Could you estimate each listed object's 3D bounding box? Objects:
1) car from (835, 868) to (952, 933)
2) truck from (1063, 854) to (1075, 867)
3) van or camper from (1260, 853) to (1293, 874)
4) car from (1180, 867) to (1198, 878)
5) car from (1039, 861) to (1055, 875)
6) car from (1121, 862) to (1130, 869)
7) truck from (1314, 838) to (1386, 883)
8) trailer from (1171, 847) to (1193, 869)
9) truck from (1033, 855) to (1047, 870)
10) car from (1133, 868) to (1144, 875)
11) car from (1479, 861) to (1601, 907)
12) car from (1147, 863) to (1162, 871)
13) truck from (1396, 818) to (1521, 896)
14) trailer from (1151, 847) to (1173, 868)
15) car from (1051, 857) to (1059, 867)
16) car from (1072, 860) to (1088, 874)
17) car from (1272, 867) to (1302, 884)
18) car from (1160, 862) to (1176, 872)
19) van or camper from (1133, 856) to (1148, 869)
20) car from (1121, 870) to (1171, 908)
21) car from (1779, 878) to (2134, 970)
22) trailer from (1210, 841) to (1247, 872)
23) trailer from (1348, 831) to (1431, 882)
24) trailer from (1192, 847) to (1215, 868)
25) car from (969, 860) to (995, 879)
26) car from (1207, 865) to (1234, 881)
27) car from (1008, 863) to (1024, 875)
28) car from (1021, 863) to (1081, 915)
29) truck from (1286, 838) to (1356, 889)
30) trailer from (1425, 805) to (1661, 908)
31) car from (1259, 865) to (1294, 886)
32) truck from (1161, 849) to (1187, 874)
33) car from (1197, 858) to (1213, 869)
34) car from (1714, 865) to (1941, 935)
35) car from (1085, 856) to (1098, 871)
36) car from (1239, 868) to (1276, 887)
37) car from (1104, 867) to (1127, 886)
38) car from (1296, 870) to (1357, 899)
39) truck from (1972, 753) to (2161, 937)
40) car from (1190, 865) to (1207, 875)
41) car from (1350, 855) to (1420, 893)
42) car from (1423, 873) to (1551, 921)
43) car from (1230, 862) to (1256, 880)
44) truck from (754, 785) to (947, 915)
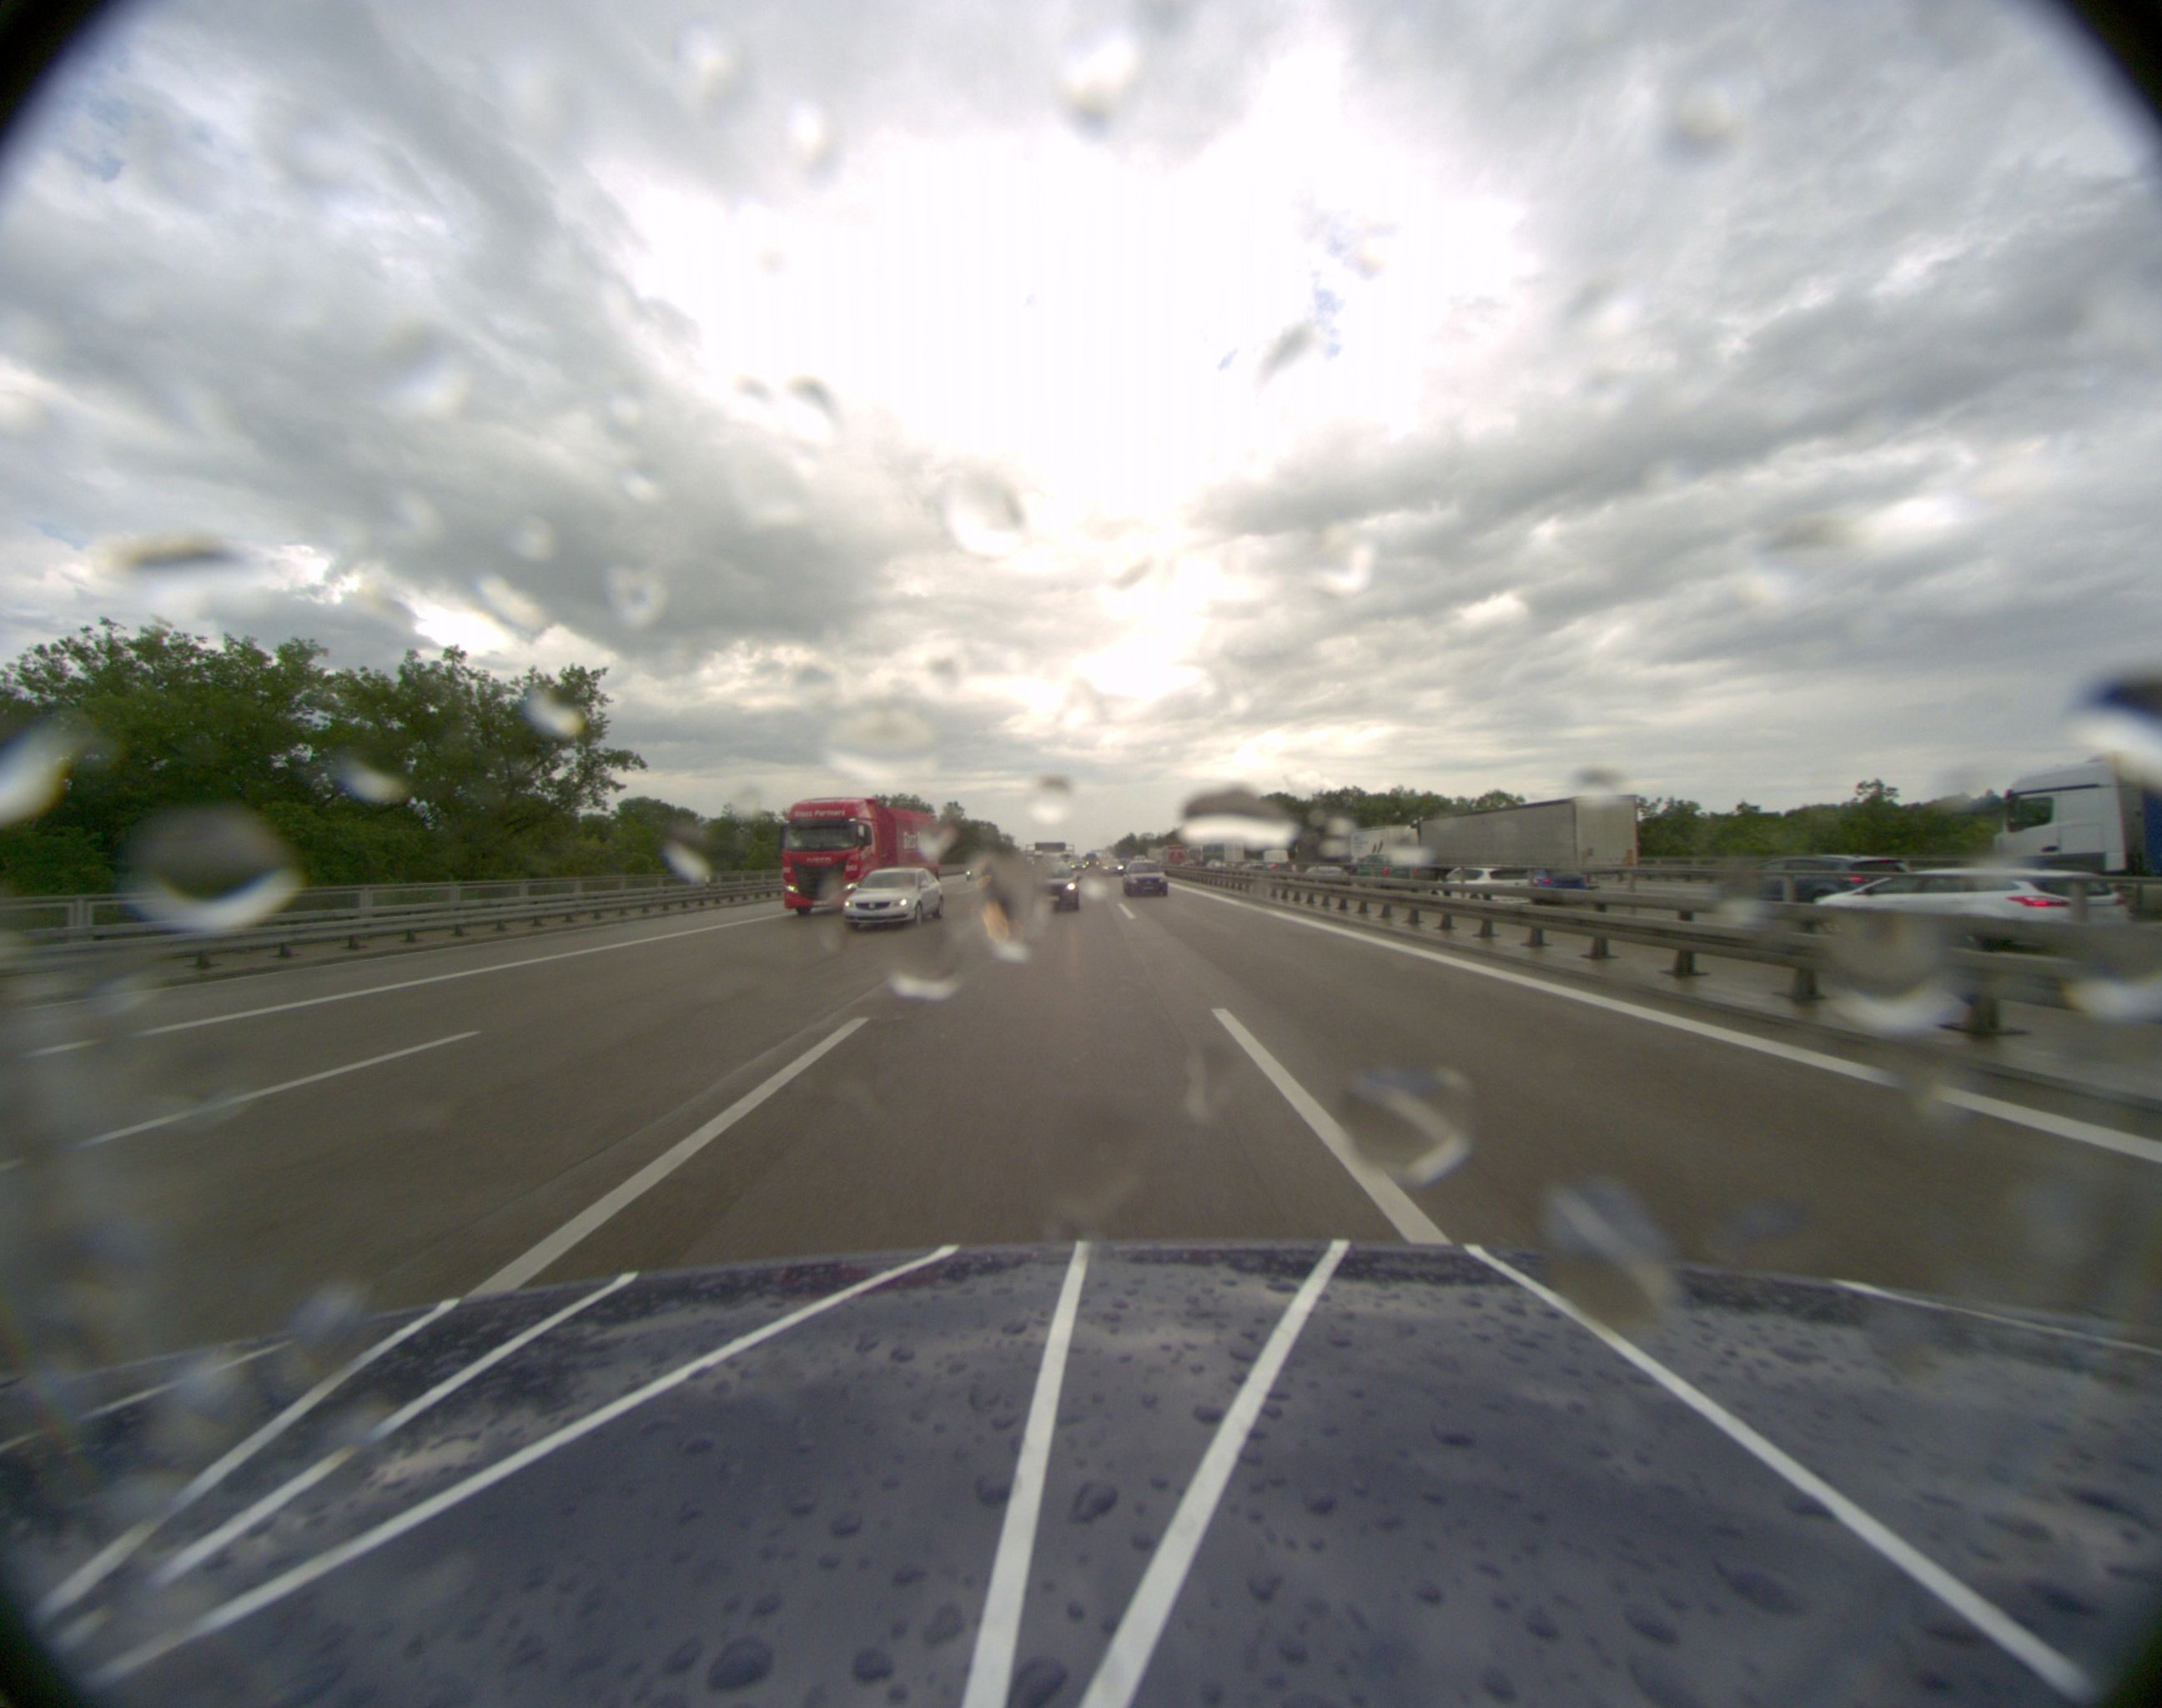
[{"bbox_3d":[-4.687,1.106,19.641,1.898,1.438,4.246,-1,-1,0],"label":"car"},{"bbox_3d":[-3.798,2.107,241.038,2.959,3.776,12.324,-2,-1,-5],"label":"truck"},{"bbox_3d":[24.724,1.204,96.387,2.249,2.563,7.364,-1,-1,-1],"label":"van or camper"},{"bbox_3d":[13.307,2.259,93.624,1.577,1.346,4.385,0,-1,0],"label":"car"},{"bbox_3d":[-4.599,1.901,103.778,1.962,1.830,4.000,-1,0,-1],"label":"car"},{"bbox_3d":[11.777,3.012,202.815,1.918,1.756,5.331,-1,0,-1],"label":"car"},{"bbox_3d":[25.684,0.629,73.191,3.233,3.886,10.282,-2,-1,0],"label":"truck"},{"bbox_3d":[20.616,0.854,155.129,2.888,4.121,13.030,0,-1,1],"label":"trailer"},{"bbox_3d":[-11.051,2.282,202.866,3.256,3.883,12.311,-2,-1,-4],"label":"truck"},{"bbox_3d":[12.692,3.898,168.764,1.927,1.410,5.164,0,-1,-1],"label":"car"},{"bbox_3d":[17.405,1.079,29.114,1.826,1.614,4.698,0,-1,0],"label":"car"},{"bbox_3d":[12.783,2.270,132.072,1.927,1.410,5.012,0,-1,-1],"label":"car"},{"bbox_3d":[20.897,0.202,42.704,3.207,3.910,7.574,-2,0,0],"label":"truck"},{"bbox_3d":[16.459,0.782,154.538,2.888,4.121,13.028,0,-1,-1],"label":"trailer"},{"bbox_3d":[-6.767,2.110,200.314,2.037,2.587,4.513,0,-1,-1],"label":"car"},{"bbox_3d":[-0.143,1.712,102.928,2.134,1.830,4.000,-1,0,0],"label":"car"},{"bbox_3d":[19.339,2.030,71.596,1.724,1.526,4.086,0,-1,0],"label":"car"},{"bbox_3d":[13.032,1.922,113.895,1.836,1.443,4.000,-1,0,0],"label":"car"},{"bbox_3d":[11.978,1.679,153.316,2.284,2.481,7.302,0,-1,-1],"label":"van or camper"},{"bbox_3d":[2.648,1.405,31.893,1.781,1.399,5.017,-1,-1,1],"label":"car"},{"bbox_3d":[17.202,1.270,15.424,1.649,1.501,4.861,-1,-1,1],"label":"car"},{"bbox_3d":[20.612,0.346,106.752,2.825,4.037,11.603,-2,-1,0],"label":"trailer"},{"bbox_3d":[25.595,0.246,63.631,3.227,3.936,8.851,-2,-1,0],"label":"trailer"},{"bbox_3d":[24.483,0.688,152.295,2.765,3.970,12.308,0,-1,1],"label":"trailer"},{"bbox_3d":[-8.469,1.315,65.308,1.820,1.534,4.357,-1,-1,-2],"label":"car"},{"bbox_3d":[13.578,1.862,74.178,1.724,1.493,5.503,0,-1,0],"label":"car"},{"bbox_3d":[-8.379,1.958,98.630,1.782,1.438,4.587,-1,-1,-2],"label":"car"},{"bbox_3d":[-0.879,1.051,24.415,1.668,1.431,4.405,-1,0,0],"label":"car"},{"bbox_3d":[17.317,0.697,55.452,2.526,3.378,8.541,0,-1,0],"label":"truck"},{"bbox_3d":[20.876,0.158,35.994,3.252,3.910,13.016,-2,-1,0],"label":"trailer"},{"bbox_3d":[16.971,1.857,66.238,1.724,1.689,5.056,0,-1,0],"label":"car"},{"bbox_3d":[16.255,1.304,133.679,2.991,4.124,12.523,0,-1,0],"label":"truck"},{"bbox_3d":[21.099,1.596,129.464,1.998,1.819,4.000,-1,0,1],"label":"car"},{"bbox_3d":[20.836,1.209,21.551,1.973,1.737,4.576,-1,-1,1],"label":"car"},{"bbox_3d":[1.699,1.608,128.132,1.999,2.353,4.172,-2,0,-1],"label":"car"},{"bbox_3d":[12.811,1.699,55.333,1.724,1.346,4.000,0,-1,0],"label":"car"},{"bbox_3d":[2.943,1.923,65.340,1.751,1.489,4.015,-1,0,1],"label":"car"},{"bbox_3d":[12.652,1.541,39.408,1.724,1.346,4.535,0,-1,0],"label":"car"},{"bbox_3d":[24.849,-0.300,11.119,2.655,3.997,17.749,-1,-1,0],"label":"truck"},{"bbox_3d":[17.109,2.313,110.805,1.836,1.443,4.000,0,-1,0],"label":"car"},{"bbox_3d":[17.482,1.131,44.052,1.826,2.040,5.676,0,-1,0],"label":"car"},{"bbox_3d":[12.975,1.335,24.651,1.724,1.346,4.626,0,-1,0],"label":"car"},{"bbox_3d":[16.899,1.758,79.398,1.724,1.717,5.105,0,-1,0],"label":"car"},{"bbox_3d":[-8.514,-0.004,31.383,3.160,3.979,15.638,-1,-1,0],"label":"truck"}]
